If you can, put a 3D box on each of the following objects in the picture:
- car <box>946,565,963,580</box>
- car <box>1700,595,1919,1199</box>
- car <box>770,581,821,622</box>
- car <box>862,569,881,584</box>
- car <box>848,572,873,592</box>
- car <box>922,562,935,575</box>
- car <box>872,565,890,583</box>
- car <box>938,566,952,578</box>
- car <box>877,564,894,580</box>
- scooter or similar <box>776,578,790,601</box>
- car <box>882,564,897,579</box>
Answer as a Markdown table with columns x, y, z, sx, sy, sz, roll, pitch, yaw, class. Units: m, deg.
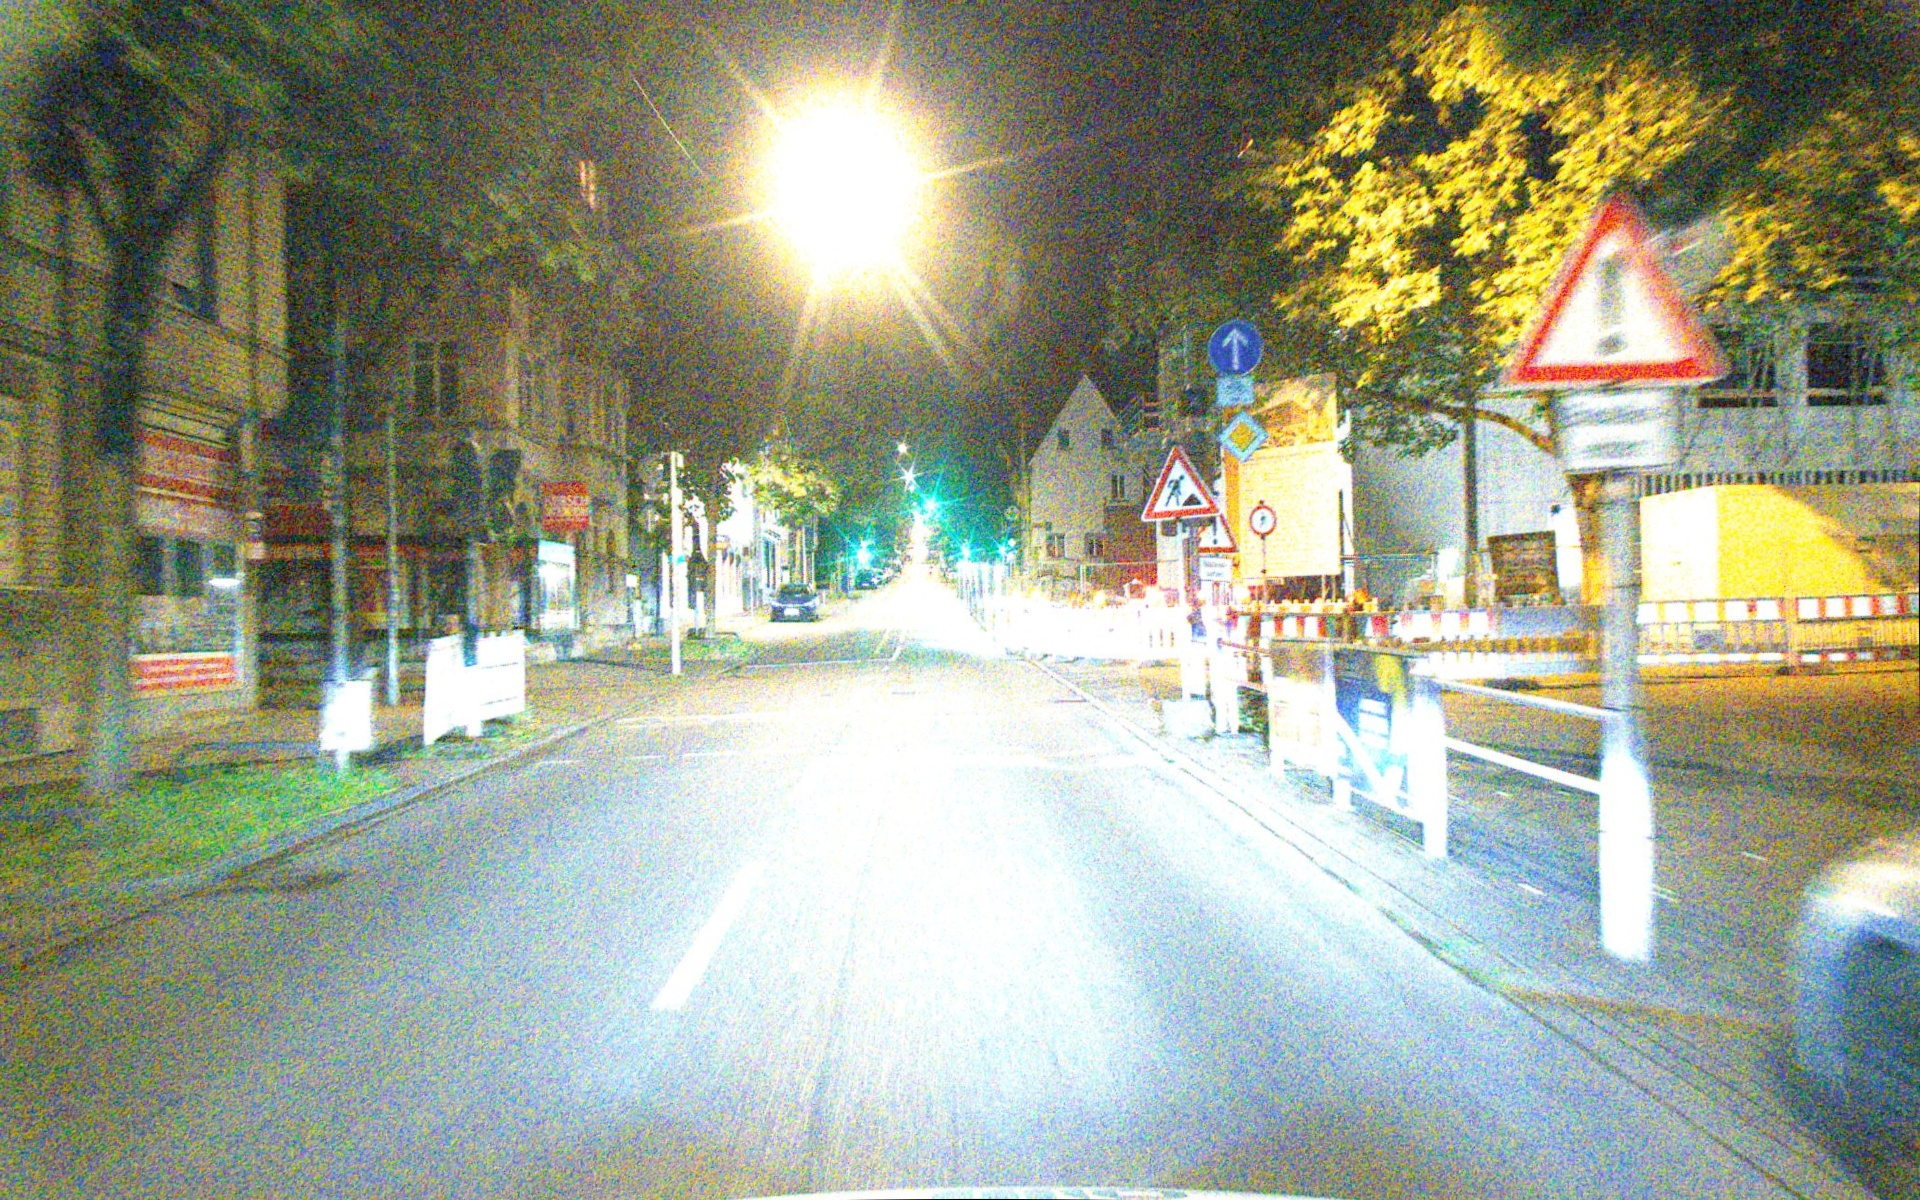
| x | y | z | sx | sy | sz | roll | pitch | yaw | class |
| --- | --- | --- | --- | --- | --- | --- | --- | --- | --- |
| -0.679 | -3.110 | 187.361 | 1.835 | 1.571 | 4.204 | -1 | 1 | -1 | car |
| 3.214 | 0.718 | 2.877 | 1.693 | 1.444 | 4.320 | -2 | 0 | -3 | car |
| -6.396 | 0.026 | 64.760 | 1.637 | 1.468 | 4.204 | -1 | 1 | -1 | car |
| -9.320 | -2.461 | 174.097 | 1.835 | 1.571 | 4.204 | -1 | 1 | -1 | car |
| -8.203 | -1.504 | 136.755 | 1.835 | 1.571 | 4.204 | -1 | 1 | -1 | car |
| -4.573 | -4.535 | 241.405 | 1.835 | 1.846 | 4.205 | -1 | 1 | 0 | car |
| -8.607 | -2.849 | 180.140 | 1.835 | 1.846 | 4.204 | -1 | 2 | -1 | car |
| -2.090 | -3.876 | 226.276 | 1.835 | 1.571 | 4.204 | -1 | 1 | -1 | car |
| -8.902 | -3.363 | 198.431 | 1.835 | 1.846 | 4.204 | -1 | 1 | -1 | car |
| -9.694 | -0.588 | 90.570 | 0.517 | 1.185 | 2.506 | -3 | -1 | -2 | scooter or similar |
| -9.225 | -3.739 | 216.378 | 1.835 | 1.846 | 4.205 | -1 | 1 | 0 | car |
